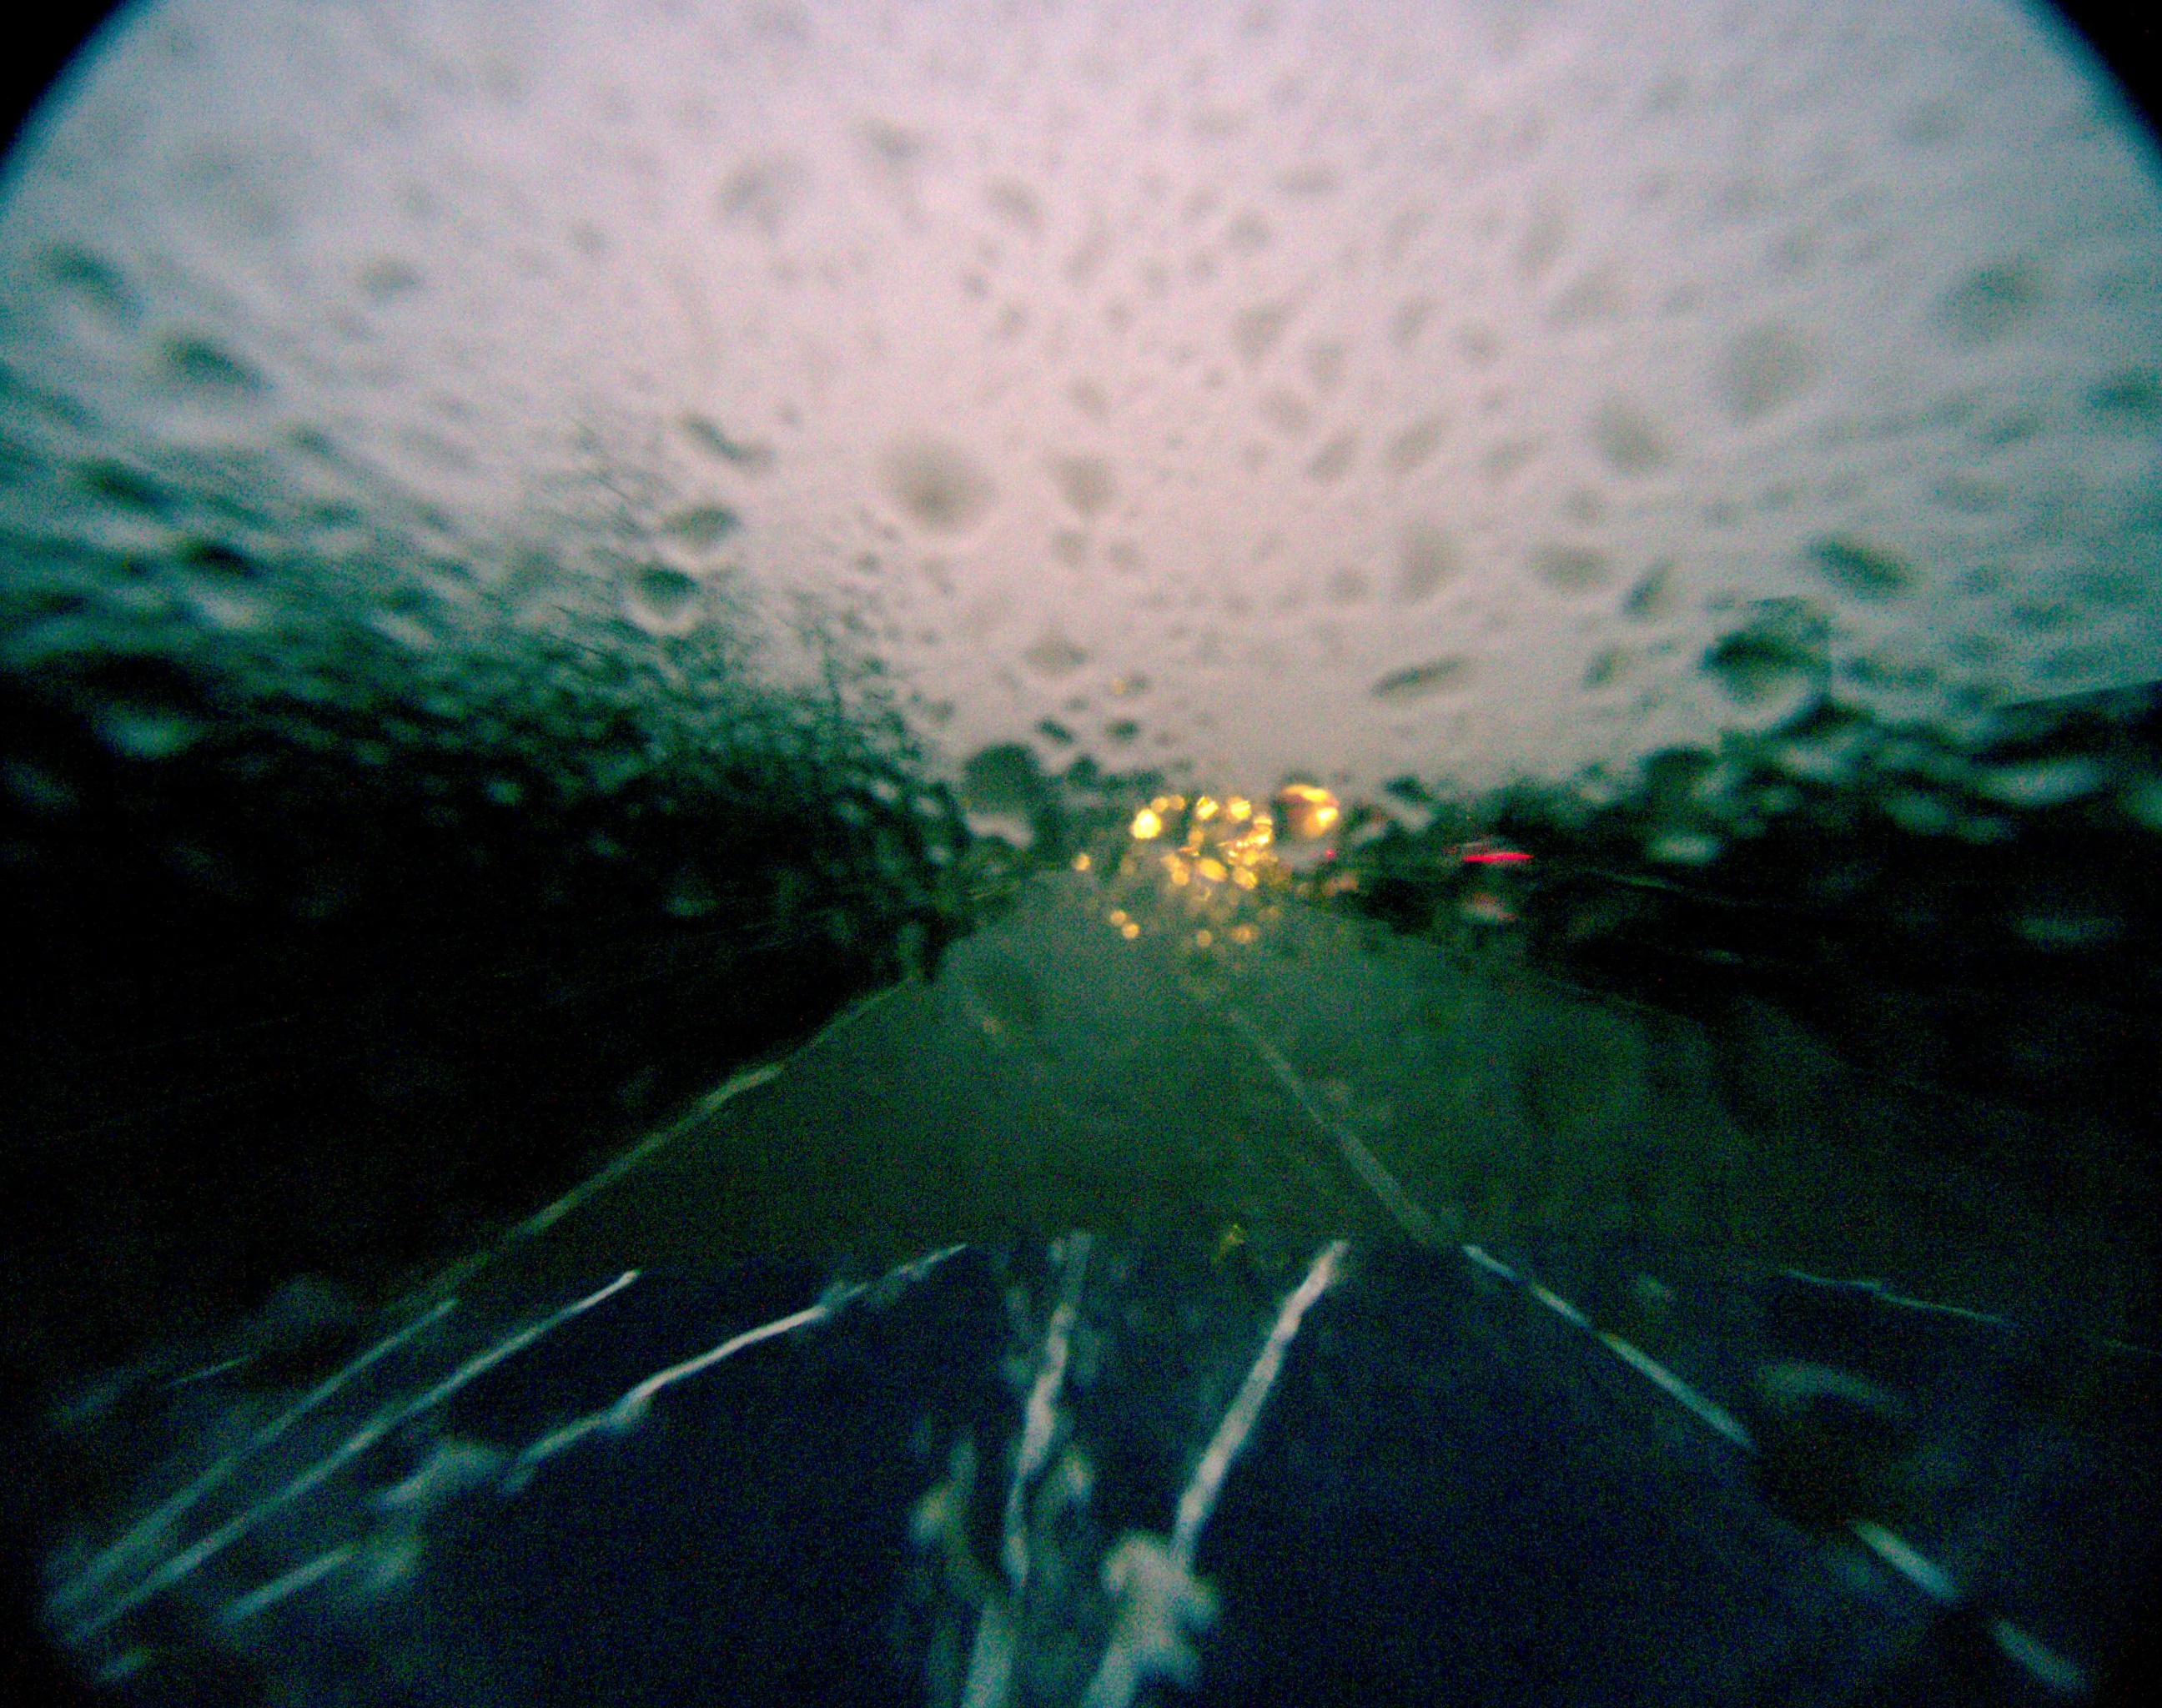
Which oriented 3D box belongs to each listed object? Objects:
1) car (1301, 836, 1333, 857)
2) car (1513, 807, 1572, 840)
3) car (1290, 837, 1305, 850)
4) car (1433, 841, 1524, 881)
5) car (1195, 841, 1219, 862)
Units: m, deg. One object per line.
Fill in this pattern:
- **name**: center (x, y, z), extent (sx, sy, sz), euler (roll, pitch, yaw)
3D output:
- **car**: center (20.759, -0.667, 66.997), extent (1.997, 1.663, 4.431), euler (-2, 1, 8)
- **car**: center (47.130, -3.056, 77.894), extent (3.195, 3.192, 9.951), euler (-1, 1, 20)
- **car**: center (31.326, -1.548, 110.078), extent (1.797, 1.674, 4.691), euler (-1, 1, 11)
- **car**: center (15.443, 0.239, 29.745), extent (1.675, 1.412, 4.082), euler (-2, 1, 5)
- **car**: center (14.074, -0.310, 84.445), extent (1.996, 2.002, 4.004), euler (-5, 1, 16)
